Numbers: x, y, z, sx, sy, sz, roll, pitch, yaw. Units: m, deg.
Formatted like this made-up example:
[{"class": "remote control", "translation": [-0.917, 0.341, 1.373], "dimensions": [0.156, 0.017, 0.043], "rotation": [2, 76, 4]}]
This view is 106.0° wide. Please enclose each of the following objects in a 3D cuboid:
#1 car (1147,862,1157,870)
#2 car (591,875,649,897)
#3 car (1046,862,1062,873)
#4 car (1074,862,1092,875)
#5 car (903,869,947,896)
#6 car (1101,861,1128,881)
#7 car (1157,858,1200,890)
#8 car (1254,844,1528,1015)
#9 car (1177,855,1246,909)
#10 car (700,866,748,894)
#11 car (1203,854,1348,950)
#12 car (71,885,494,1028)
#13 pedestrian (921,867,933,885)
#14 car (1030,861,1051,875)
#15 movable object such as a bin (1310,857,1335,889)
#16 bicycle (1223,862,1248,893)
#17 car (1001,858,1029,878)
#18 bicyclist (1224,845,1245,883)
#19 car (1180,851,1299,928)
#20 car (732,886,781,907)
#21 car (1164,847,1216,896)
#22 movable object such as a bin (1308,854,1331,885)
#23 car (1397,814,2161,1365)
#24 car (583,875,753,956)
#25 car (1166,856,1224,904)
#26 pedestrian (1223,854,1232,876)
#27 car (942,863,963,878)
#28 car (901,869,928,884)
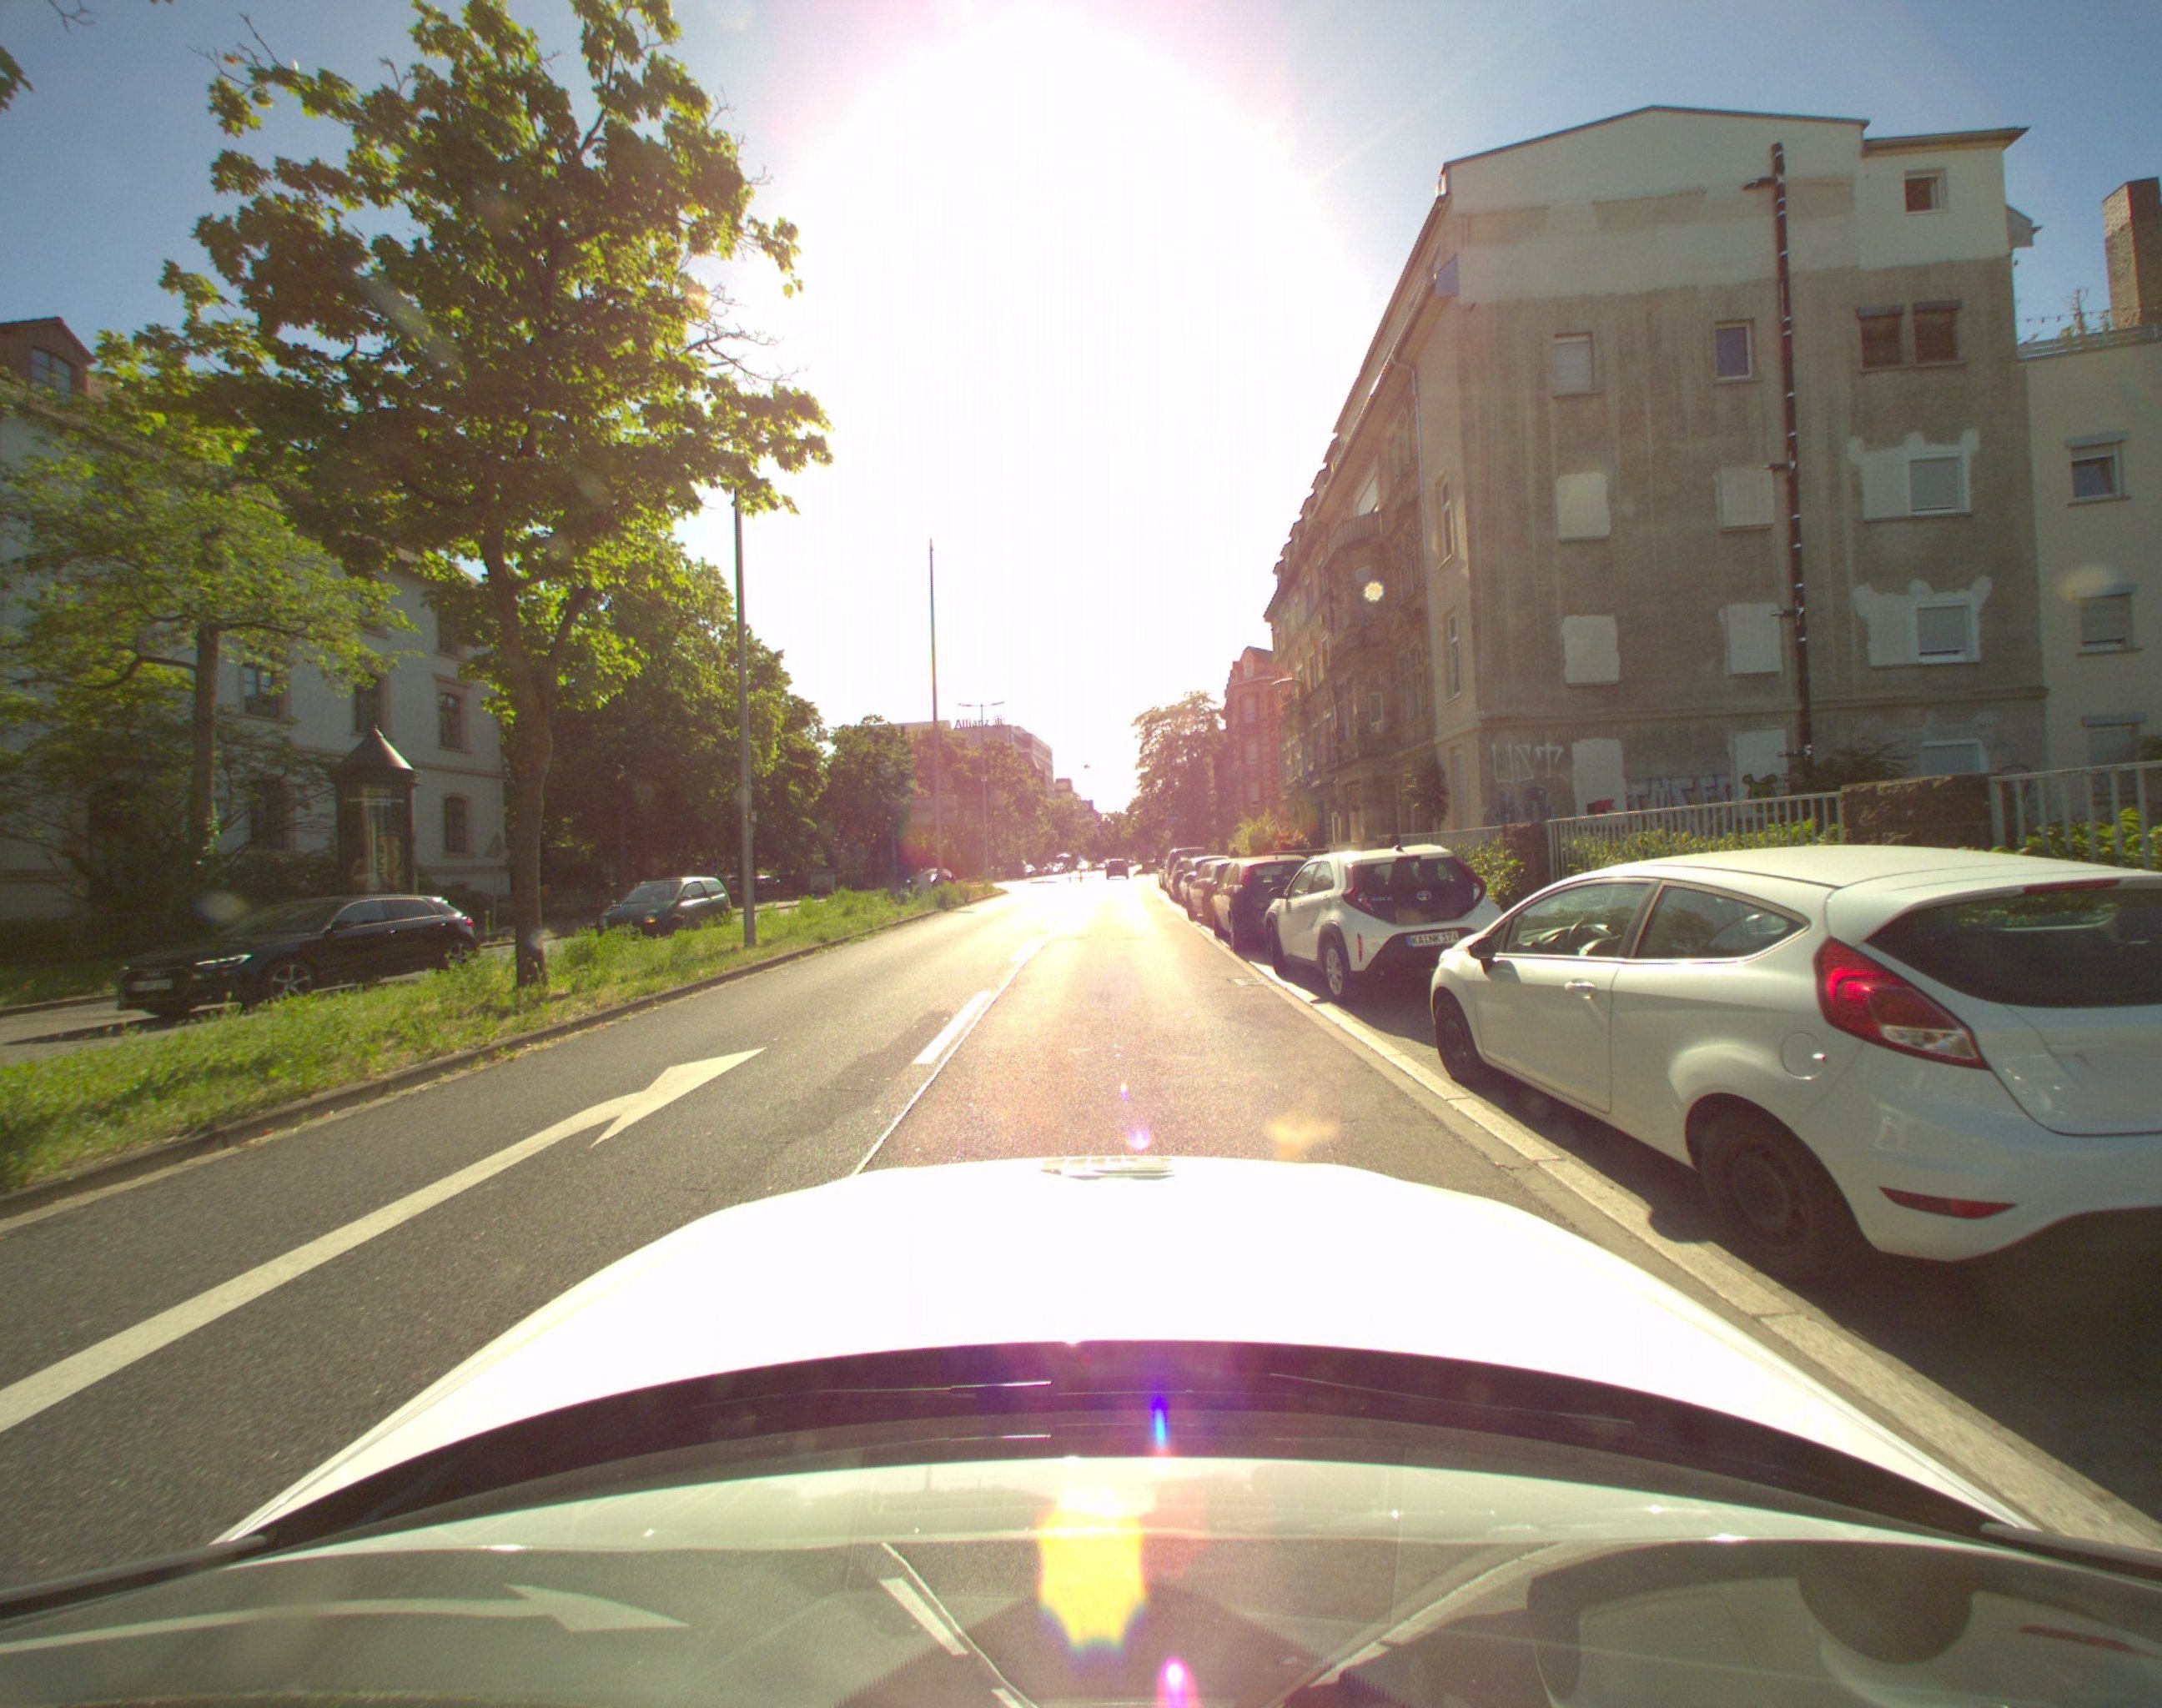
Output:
[{"class": "car", "translation": [15.274, 2.519, 176.151], "dimensions": [1.910, 1.640, 4.008], "rotation": [-3, -1, 7]}, {"class": "car", "translation": [-34.567, 2.446, 61.183], "dimensions": [1.838, 1.491, 4.001], "rotation": [-1, -4, 3]}, {"class": "car", "translation": [-3.556, 1.804, 108.259], "dimensions": [1.514, 1.432, 3.346], "rotation": [-2, 0, 9]}, {"class": "car", "translation": [0.316, 2.011, 112.607], "dimensions": [1.748, 1.519, 3.870], "rotation": [-4, 0, 9]}, {"class": "car", "translation": [-9.635, 1.755, 50.685], "dimensions": [1.789, 1.519, 4.424], "rotation": [-1, -1, 1]}, {"class": "car", "translation": [2.595, 1.315, 63.535], "dimensions": [1.889, 1.519, 3.998], "rotation": [0, -1, -1]}, {"class": "car", "translation": [4.631, 0.907, 39.018], "dimensions": [1.703, 1.425, 4.208], "rotation": [-1, -1, 2]}, {"class": "car", "translation": [3.294, 0.717, 9.457], "dimensions": [1.663, 1.519, 3.659], "rotation": [-3, 0, -1]}, {"class": "car", "translation": [3.845, 0.794, 24.433], "dimensions": [1.615, 1.470, 3.300], "rotation": [1, 0, 1]}, {"class": "car", "translation": [-32.305, 2.369, 73.883], "dimensions": [1.838, 2.324, 4.987], "rotation": [-1, -4, 3]}, {"class": "car", "translation": [3.271, 0.743, 14.408], "dimensions": [1.662, 1.393, 3.775], "rotation": [-3, 0, 1]}, {"class": "car", "translation": [-10.906, 1.293, 11.645], "dimensions": [1.787, 1.519, 4.091], "rotation": [-4, -2, 4]}, {"class": "pedestrian", "translation": [-14.205, 2.047, 75.077], "dimensions": [0.662, 1.626, 0.720], "rotation": [-3, -1, 35]}, {"class": "car", "translation": [-4.874, 1.642, 98.318], "dimensions": [1.748, 1.519, 3.869], "rotation": [-2, 0, 9]}, {"class": "movable object such as a bin", "translation": [9.169, 0.733, 30.922], "dimensions": [0.755, 1.157, 0.609], "rotation": [-1, -4, 3]}, {"class": "bicycle", "translation": [6.590, 0.995, 34.848], "dimensions": [0.738, 1.219, 1.962], "rotation": [-4, -1, 4]}, {"class": "car", "translation": [-7.032, 1.461, 87.503], "dimensions": [2.188, 1.929, 4.868], "rotation": [-2, 0, 4]}, {"class": "bicyclist", "translation": [6.551, 0.432, 34.828], "dimensions": [0.738, 1.580, 1.101], "rotation": [-1, 0, 4]}, {"class": "car", "translation": [3.551, 0.745, 19.143], "dimensions": [1.928, 1.519, 4.484], "rotation": [-3, 0, 1]}, {"class": "car", "translation": [-24.104, 3.182, 60.639], "dimensions": [1.838, 1.491, 4.001], "rotation": [-1, -4, 3]}, {"class": "car", "translation": [4.423, 0.684, 33.709], "dimensions": [1.811, 1.844, 4.369], "rotation": [-3, 0, 4]}, {"class": "movable object such as a bin", "translation": [9.287, 0.616, 31.762], "dimensions": [0.719, 1.157, 0.609], "rotation": [-1, -4, 3]}, {"class": "car", "translation": [3.161, 0.658, 4.149], "dimensions": [1.603, 1.446, 3.659], "rotation": [-6, 0, 1]}, {"class": "car", "translation": [-9.313, 1.313, 18.793], "dimensions": [1.632, 1.519, 4.258], "rotation": [-3, -1, 1]}, {"class": "car", "translation": [3.874, 0.842, 28.205], "dimensions": [1.660, 1.468, 4.279], "rotation": [-3, 0, 4]}, {"class": "pedestrian", "translation": [12.417, 0.938, 69.234], "dimensions": [0.652, 1.816, 0.753], "rotation": [-2, -4, 7]}, {"class": "car", "translation": [-15.889, 2.036, 100.633], "dimensions": [1.981, 1.662, 3.975], "rotation": [-2, 0, -18]}, {"class": "car", "translation": [-19.982, 2.648, 97.662], "dimensions": [1.987, 1.662, 3.962], "rotation": [-2, 0, -29]}]
